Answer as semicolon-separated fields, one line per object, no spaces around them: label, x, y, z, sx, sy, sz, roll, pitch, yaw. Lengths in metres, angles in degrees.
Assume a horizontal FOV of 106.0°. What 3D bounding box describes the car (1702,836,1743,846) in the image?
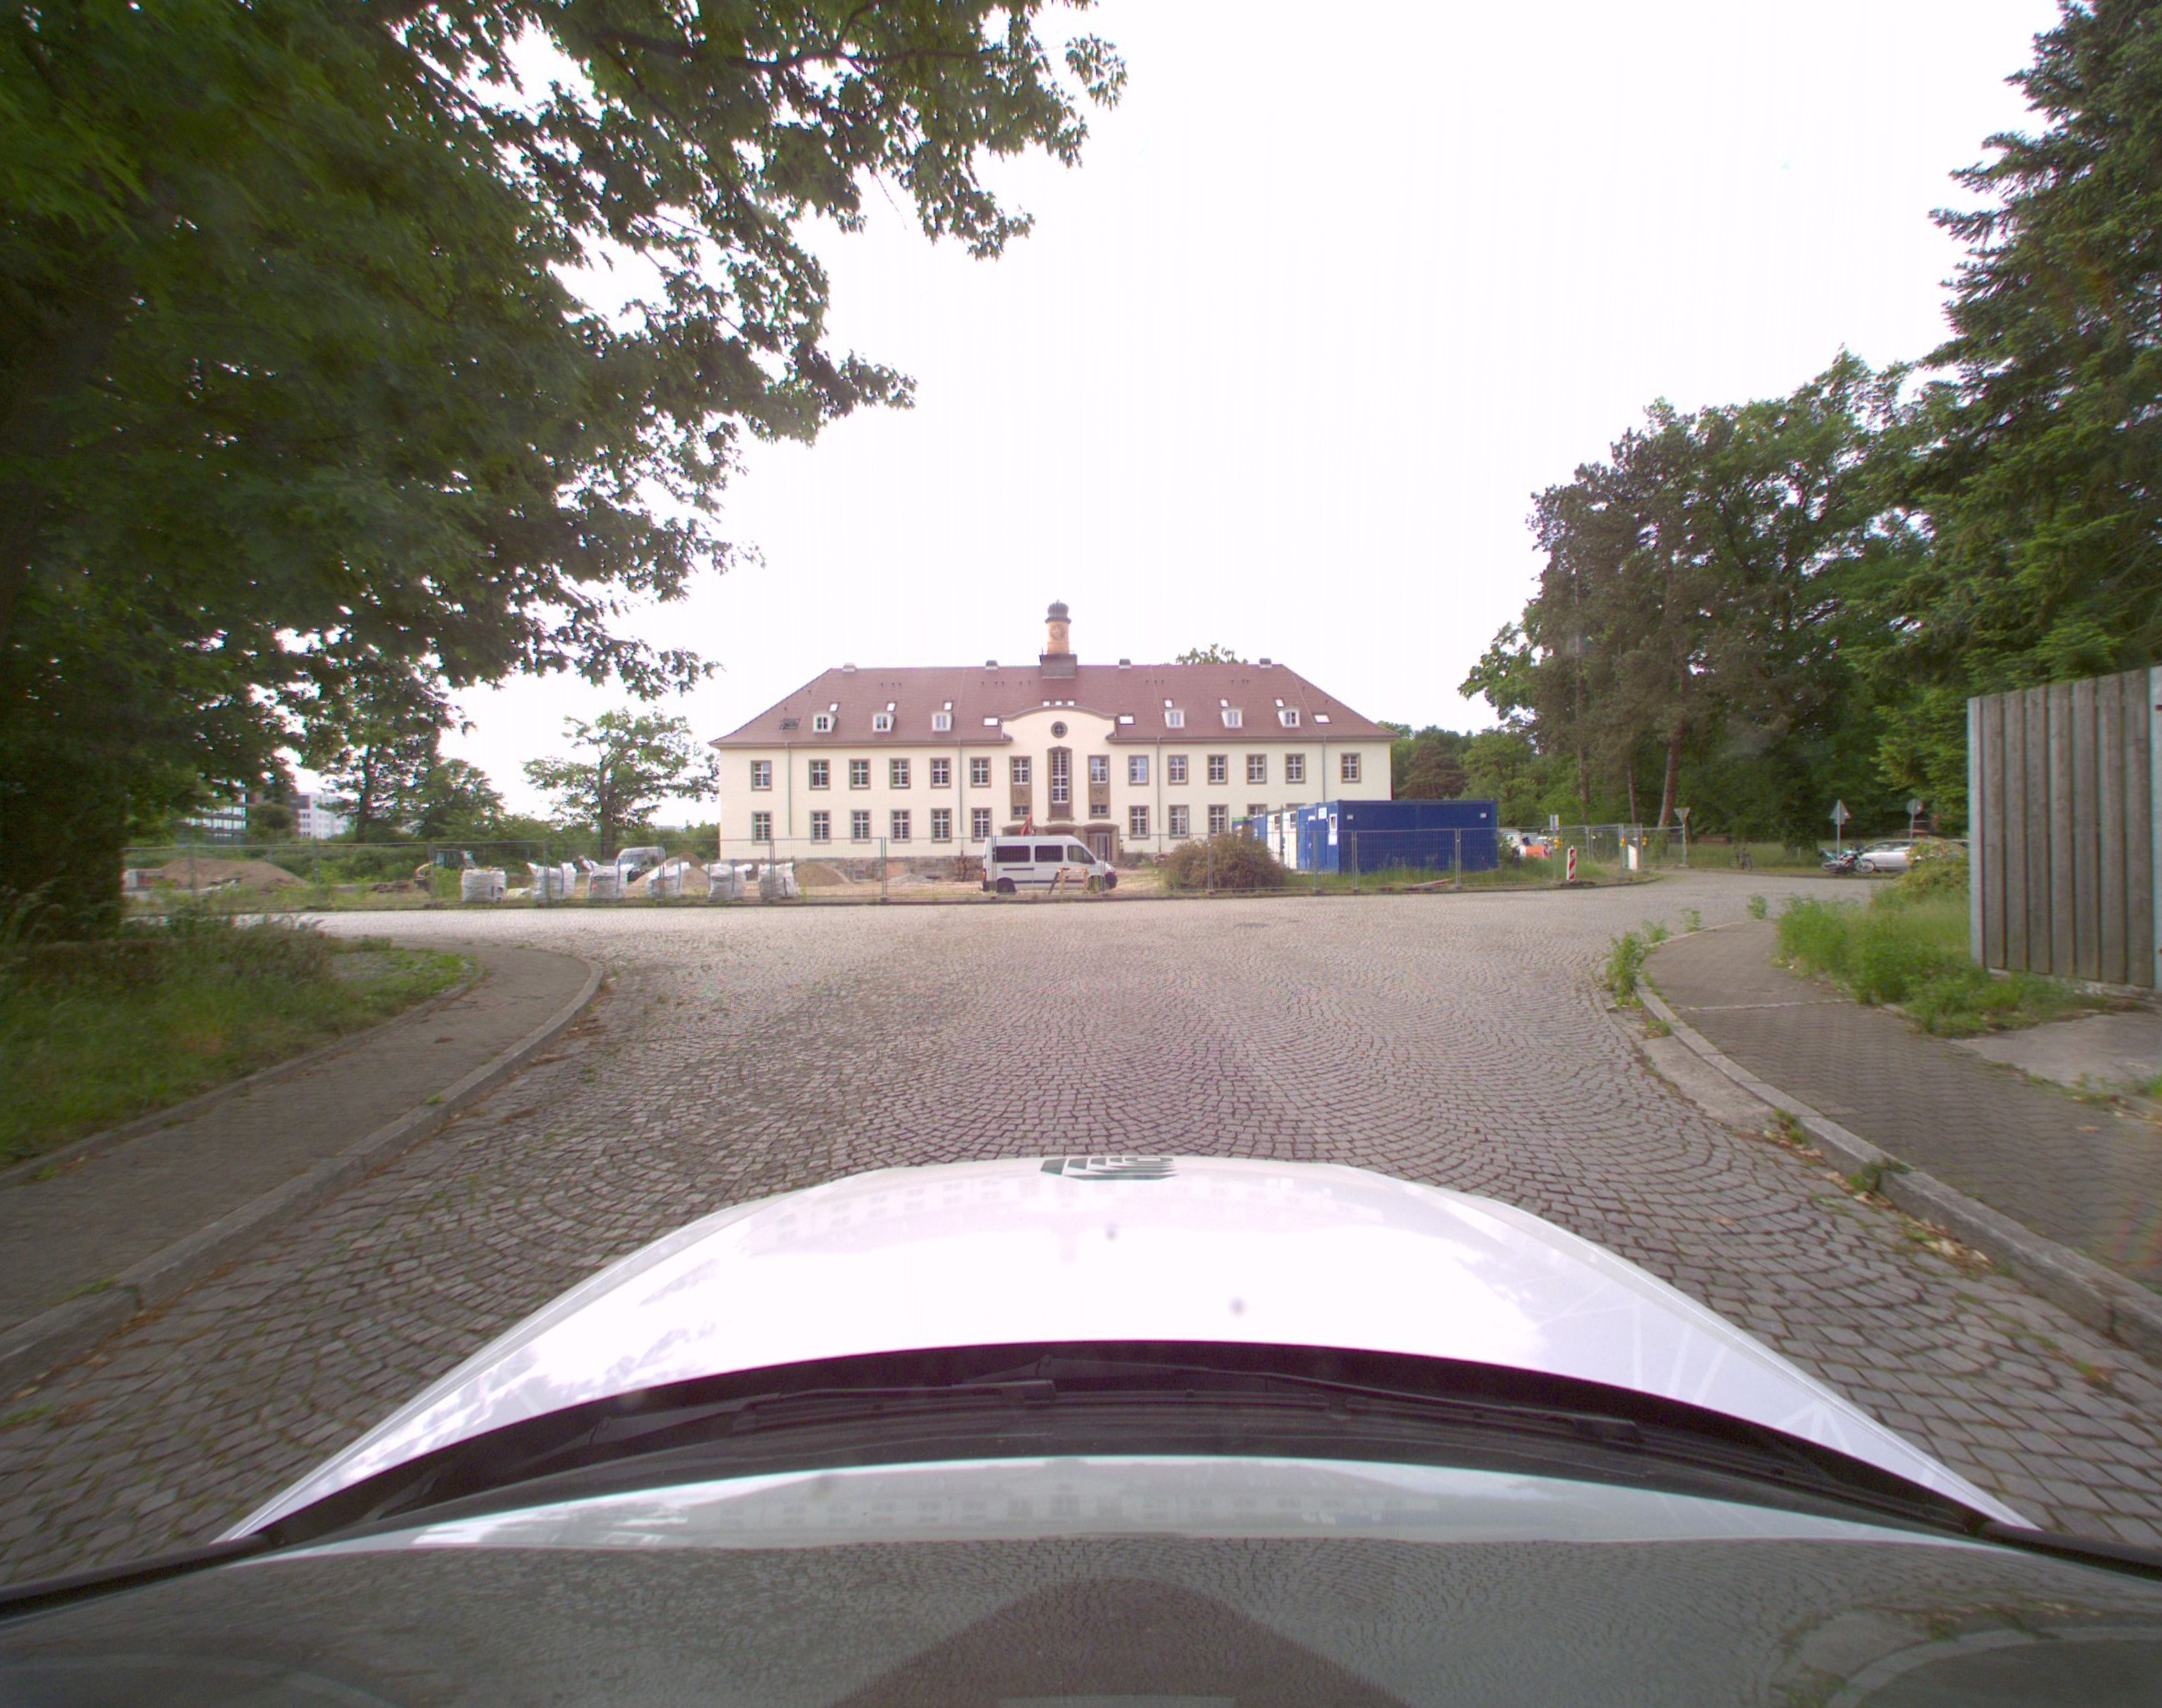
car;70.914;-1.463;90.043;1.262;1.064;3.355;-1;0;-36

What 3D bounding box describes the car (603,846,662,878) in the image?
car;-31.770;0.540;57.868;2.066;2.150;4.885;-1;0;-8

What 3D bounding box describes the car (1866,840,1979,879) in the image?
car;34.640;0.187;33.608;1.319;1.488;3.015;-1;2;-10

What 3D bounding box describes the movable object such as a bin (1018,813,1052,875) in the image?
movable object such as a bin;-2.993;-0.588;52.406;1.990;3.771;5.308;-1;0;-5

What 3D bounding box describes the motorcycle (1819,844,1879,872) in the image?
motorcycle;32.143;0.157;34.132;0.516;1.164;1.960;-1;1;-7

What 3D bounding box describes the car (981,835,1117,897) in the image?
car;-1.237;0.447;32.574;5.246;2.344;1.909;-1;0;-1

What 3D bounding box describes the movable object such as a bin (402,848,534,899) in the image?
movable object such as a bin;-32.503;0.986;43.301;5.318;2.556;1.998;-1;0;-4

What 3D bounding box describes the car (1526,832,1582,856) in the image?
car;31.515;-0.682;54.200;4.003;1.487;1.604;-1;1;-33

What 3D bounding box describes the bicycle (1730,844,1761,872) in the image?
bicycle;29.289;0.170;35.900;0.509;1.167;1.814;-1;0;22

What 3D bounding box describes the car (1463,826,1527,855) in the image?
car;30.832;-1.041;60.614;5.442;2.043;1.746;-1;0;-33

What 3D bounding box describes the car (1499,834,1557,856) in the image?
car;31.781;-0.636;57.863;4.462;1.502;1.746;-1;0;-33
